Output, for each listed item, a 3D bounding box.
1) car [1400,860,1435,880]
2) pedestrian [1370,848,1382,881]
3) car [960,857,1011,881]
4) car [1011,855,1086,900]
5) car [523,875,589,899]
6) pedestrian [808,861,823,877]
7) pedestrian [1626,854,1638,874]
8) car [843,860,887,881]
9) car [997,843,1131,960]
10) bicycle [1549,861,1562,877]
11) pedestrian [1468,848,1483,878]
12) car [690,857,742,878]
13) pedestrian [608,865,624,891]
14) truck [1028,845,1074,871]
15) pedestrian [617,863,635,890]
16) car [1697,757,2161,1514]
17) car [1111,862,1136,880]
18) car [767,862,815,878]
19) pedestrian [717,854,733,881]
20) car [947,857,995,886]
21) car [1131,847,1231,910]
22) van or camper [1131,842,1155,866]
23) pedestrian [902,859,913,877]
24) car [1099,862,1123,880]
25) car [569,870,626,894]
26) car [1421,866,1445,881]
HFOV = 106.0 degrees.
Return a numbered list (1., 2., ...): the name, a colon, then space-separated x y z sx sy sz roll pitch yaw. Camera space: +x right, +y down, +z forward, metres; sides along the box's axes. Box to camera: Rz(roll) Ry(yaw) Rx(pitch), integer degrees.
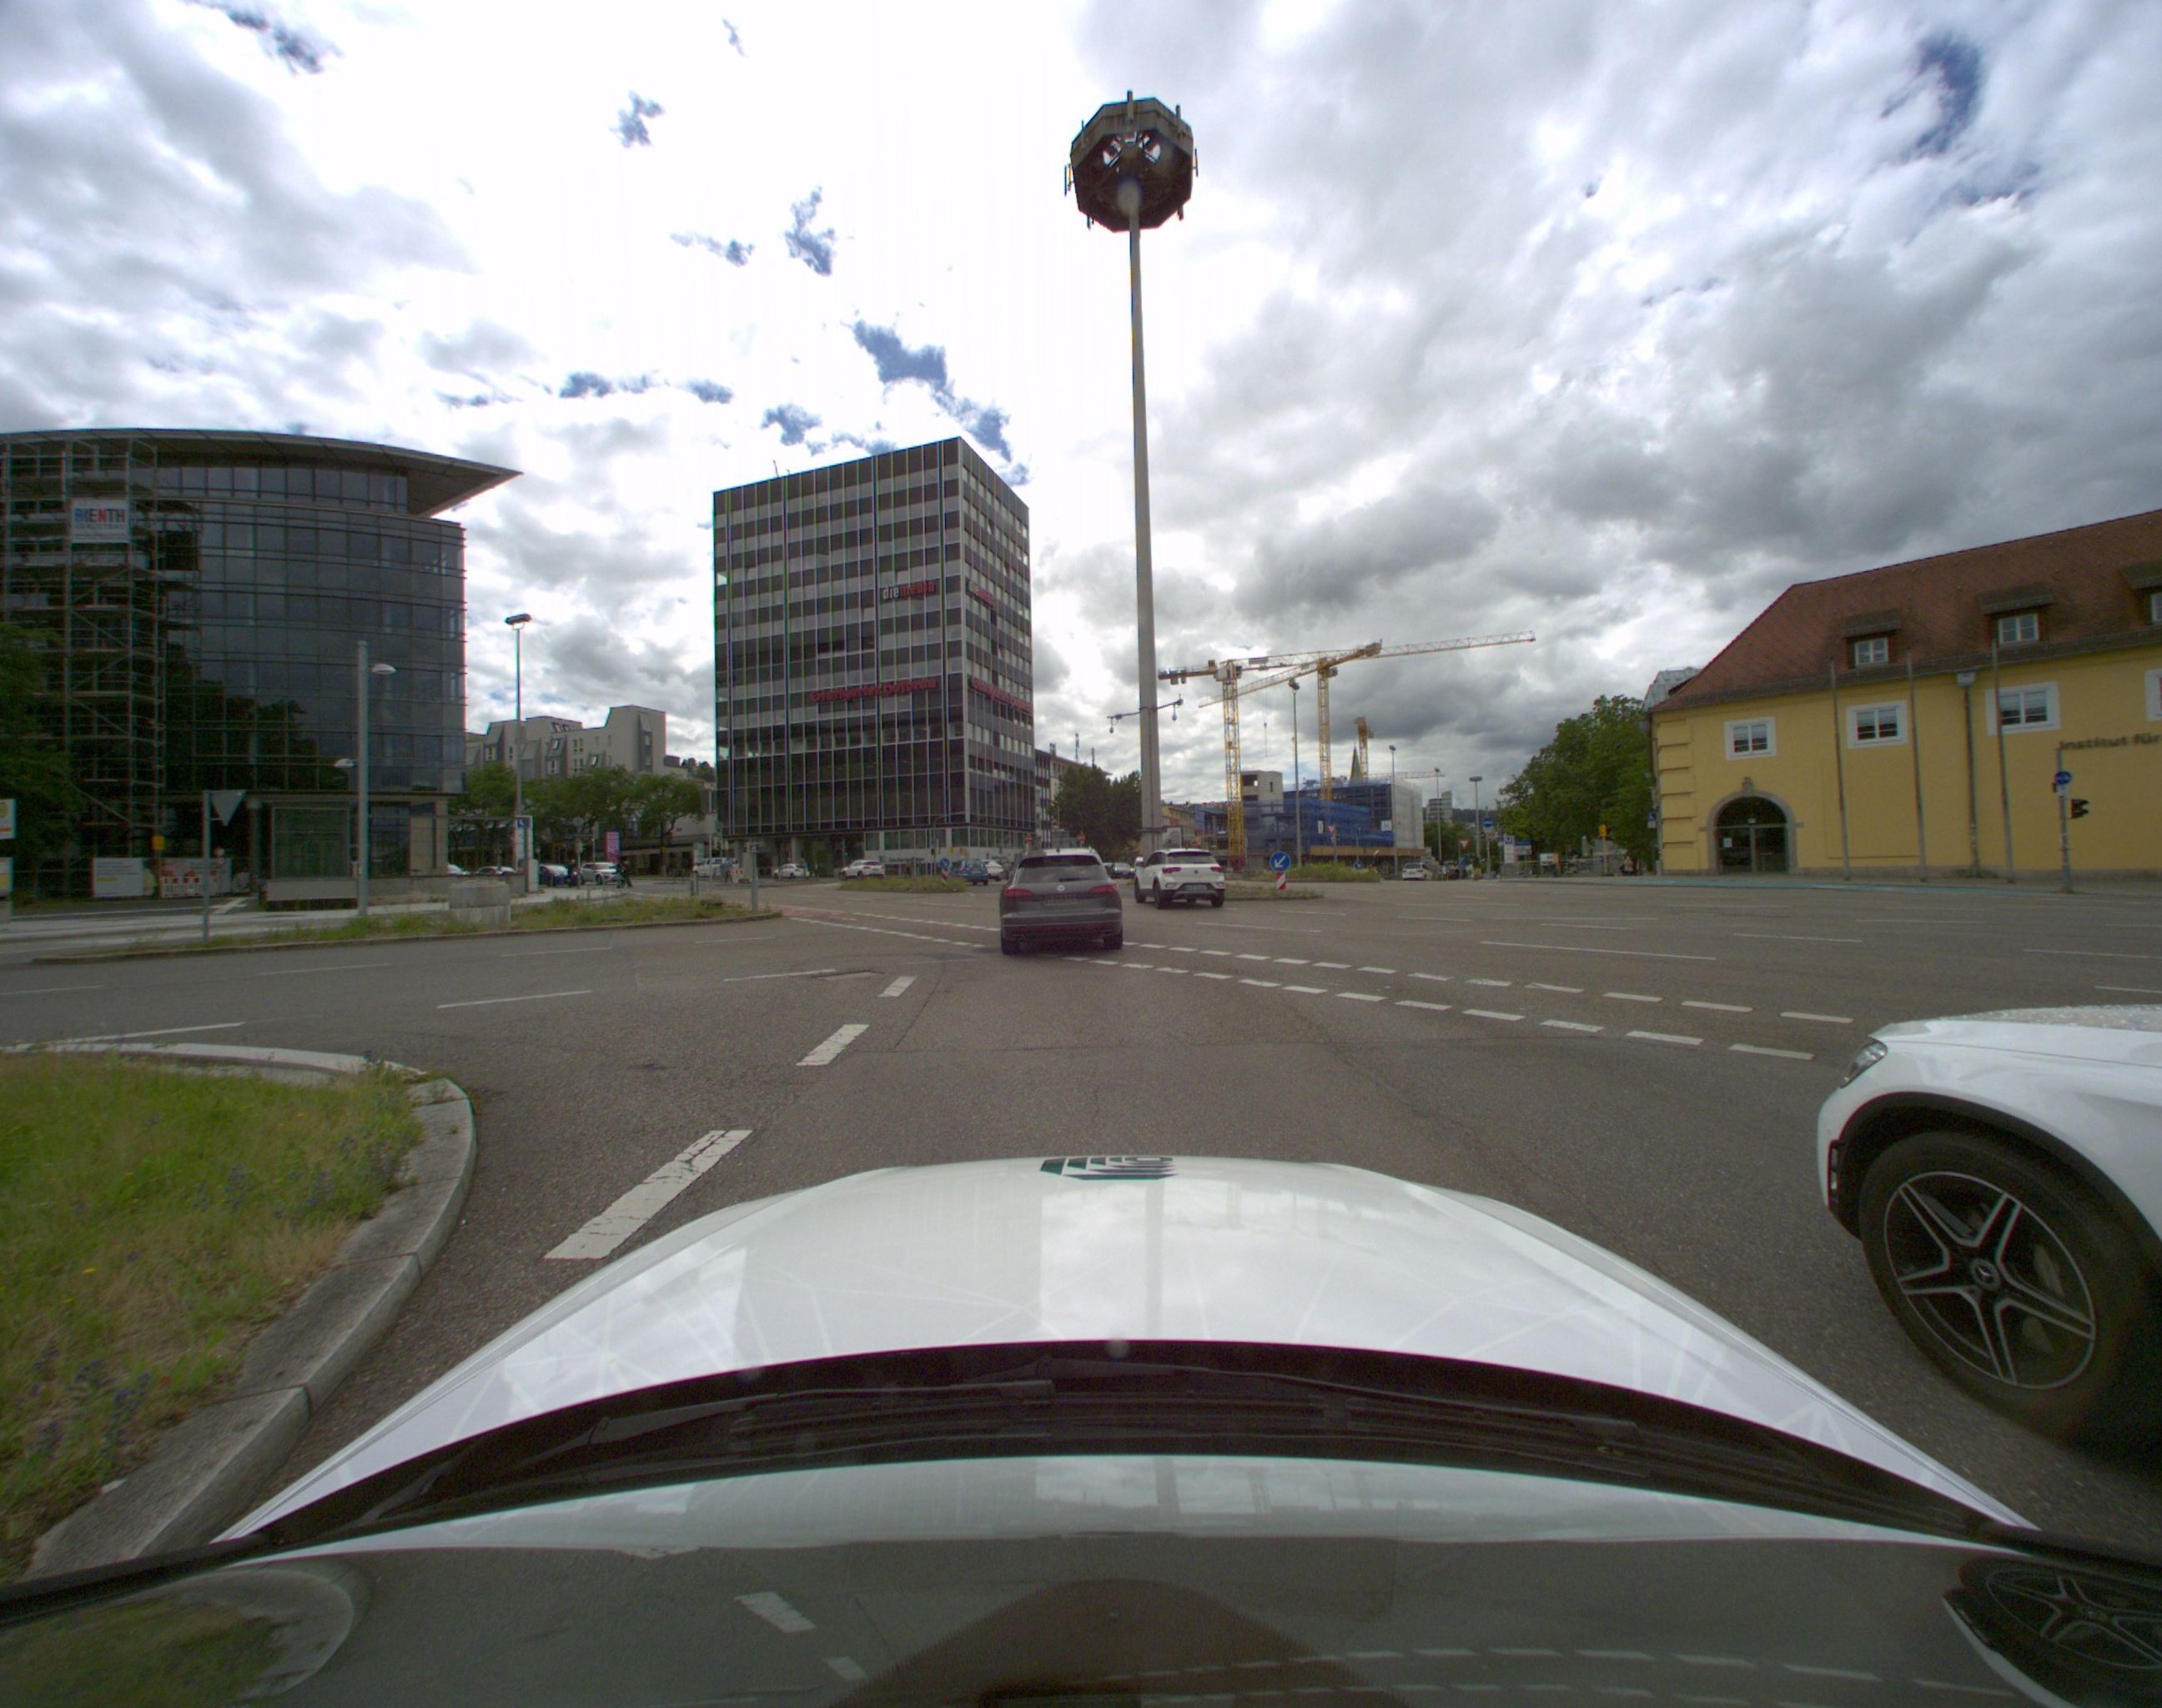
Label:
1. car: 28.004 1.358 67.686 1.855 1.602 4.025 -1 -3 35
2. pedestrian: 17.720 0.619 48.850 0.552 1.895 0.641 -2 0 14
3. car: -6.468 1.018 54.908 1.846 1.517 3.726 -1 0 -35
4. car: -0.998 0.770 27.429 1.823 1.395 4.156 1 -1 8
5. car: -36.279 2.254 56.268 4.040 1.525 2.012 -1 -1 26
6. pedestrian: -27.112 1.506 83.259 0.952 1.633 1.072 -1 0 18
7. pedestrian: 40.049 0.720 59.169 0.619 1.450 0.728 -1 -1 40
8. car: -16.595 1.261 62.444 1.847 1.567 3.723 -1 0 -40
9. car: -0.412 0.695 14.172 1.967 1.695 4.217 -1 0 -5
10. bicycle: 33.693 1.070 57.822 0.613 1.086 1.783 -1 -1 34
11. pedestrian: 24.216 0.527 49.995 0.743 1.789 0.833 -1 2 32
12. car: -34.289 1.298 76.498 4.809 1.874 1.849 -1 0 26
13. pedestrian: -29.939 1.544 52.473 0.624 1.701 0.648 -1 -1 29
14. truck: -3.667 0.549 102.759 2.317 3.064 8.245 -1 -2 25
15. pedestrian: -29.219 1.439 52.274 0.624 1.701 0.774 -1 -1 29
16. car: 3.216 0.598 0.943 1.795 1.646 4.335 -1 0 1
17. car: 3.253 1.265 62.791 1.665 1.264 4.057 -1 0 0
18. car: -27.113 1.501 76.211 4.277 1.418 2.076 -1 0 34
19. pedestrian: -24.108 0.923 55.215 0.626 1.790 0.722 -1 0 25
20. car: -6.319 0.984 46.432 1.840 1.517 3.738 -1 0 -23
21. car: 2.636 0.613 22.378 1.796 1.545 3.925 -1 0 -8
22. van or camper: 6.713 -0.048 87.591 2.128 2.477 6.176 -1 0 8
23. pedestrian: -16.616 1.334 77.986 0.792 1.697 0.551 -1 1 20
24. car: 2.635 1.526 72.303 1.987 1.504 5.039 0 -2 0
25. car: -34.880 2.020 58.732 4.263 1.598 1.751 -1 -1 32
26. car: 41.738 2.339 96.517 1.974 1.635 4.026 -1 0 33
